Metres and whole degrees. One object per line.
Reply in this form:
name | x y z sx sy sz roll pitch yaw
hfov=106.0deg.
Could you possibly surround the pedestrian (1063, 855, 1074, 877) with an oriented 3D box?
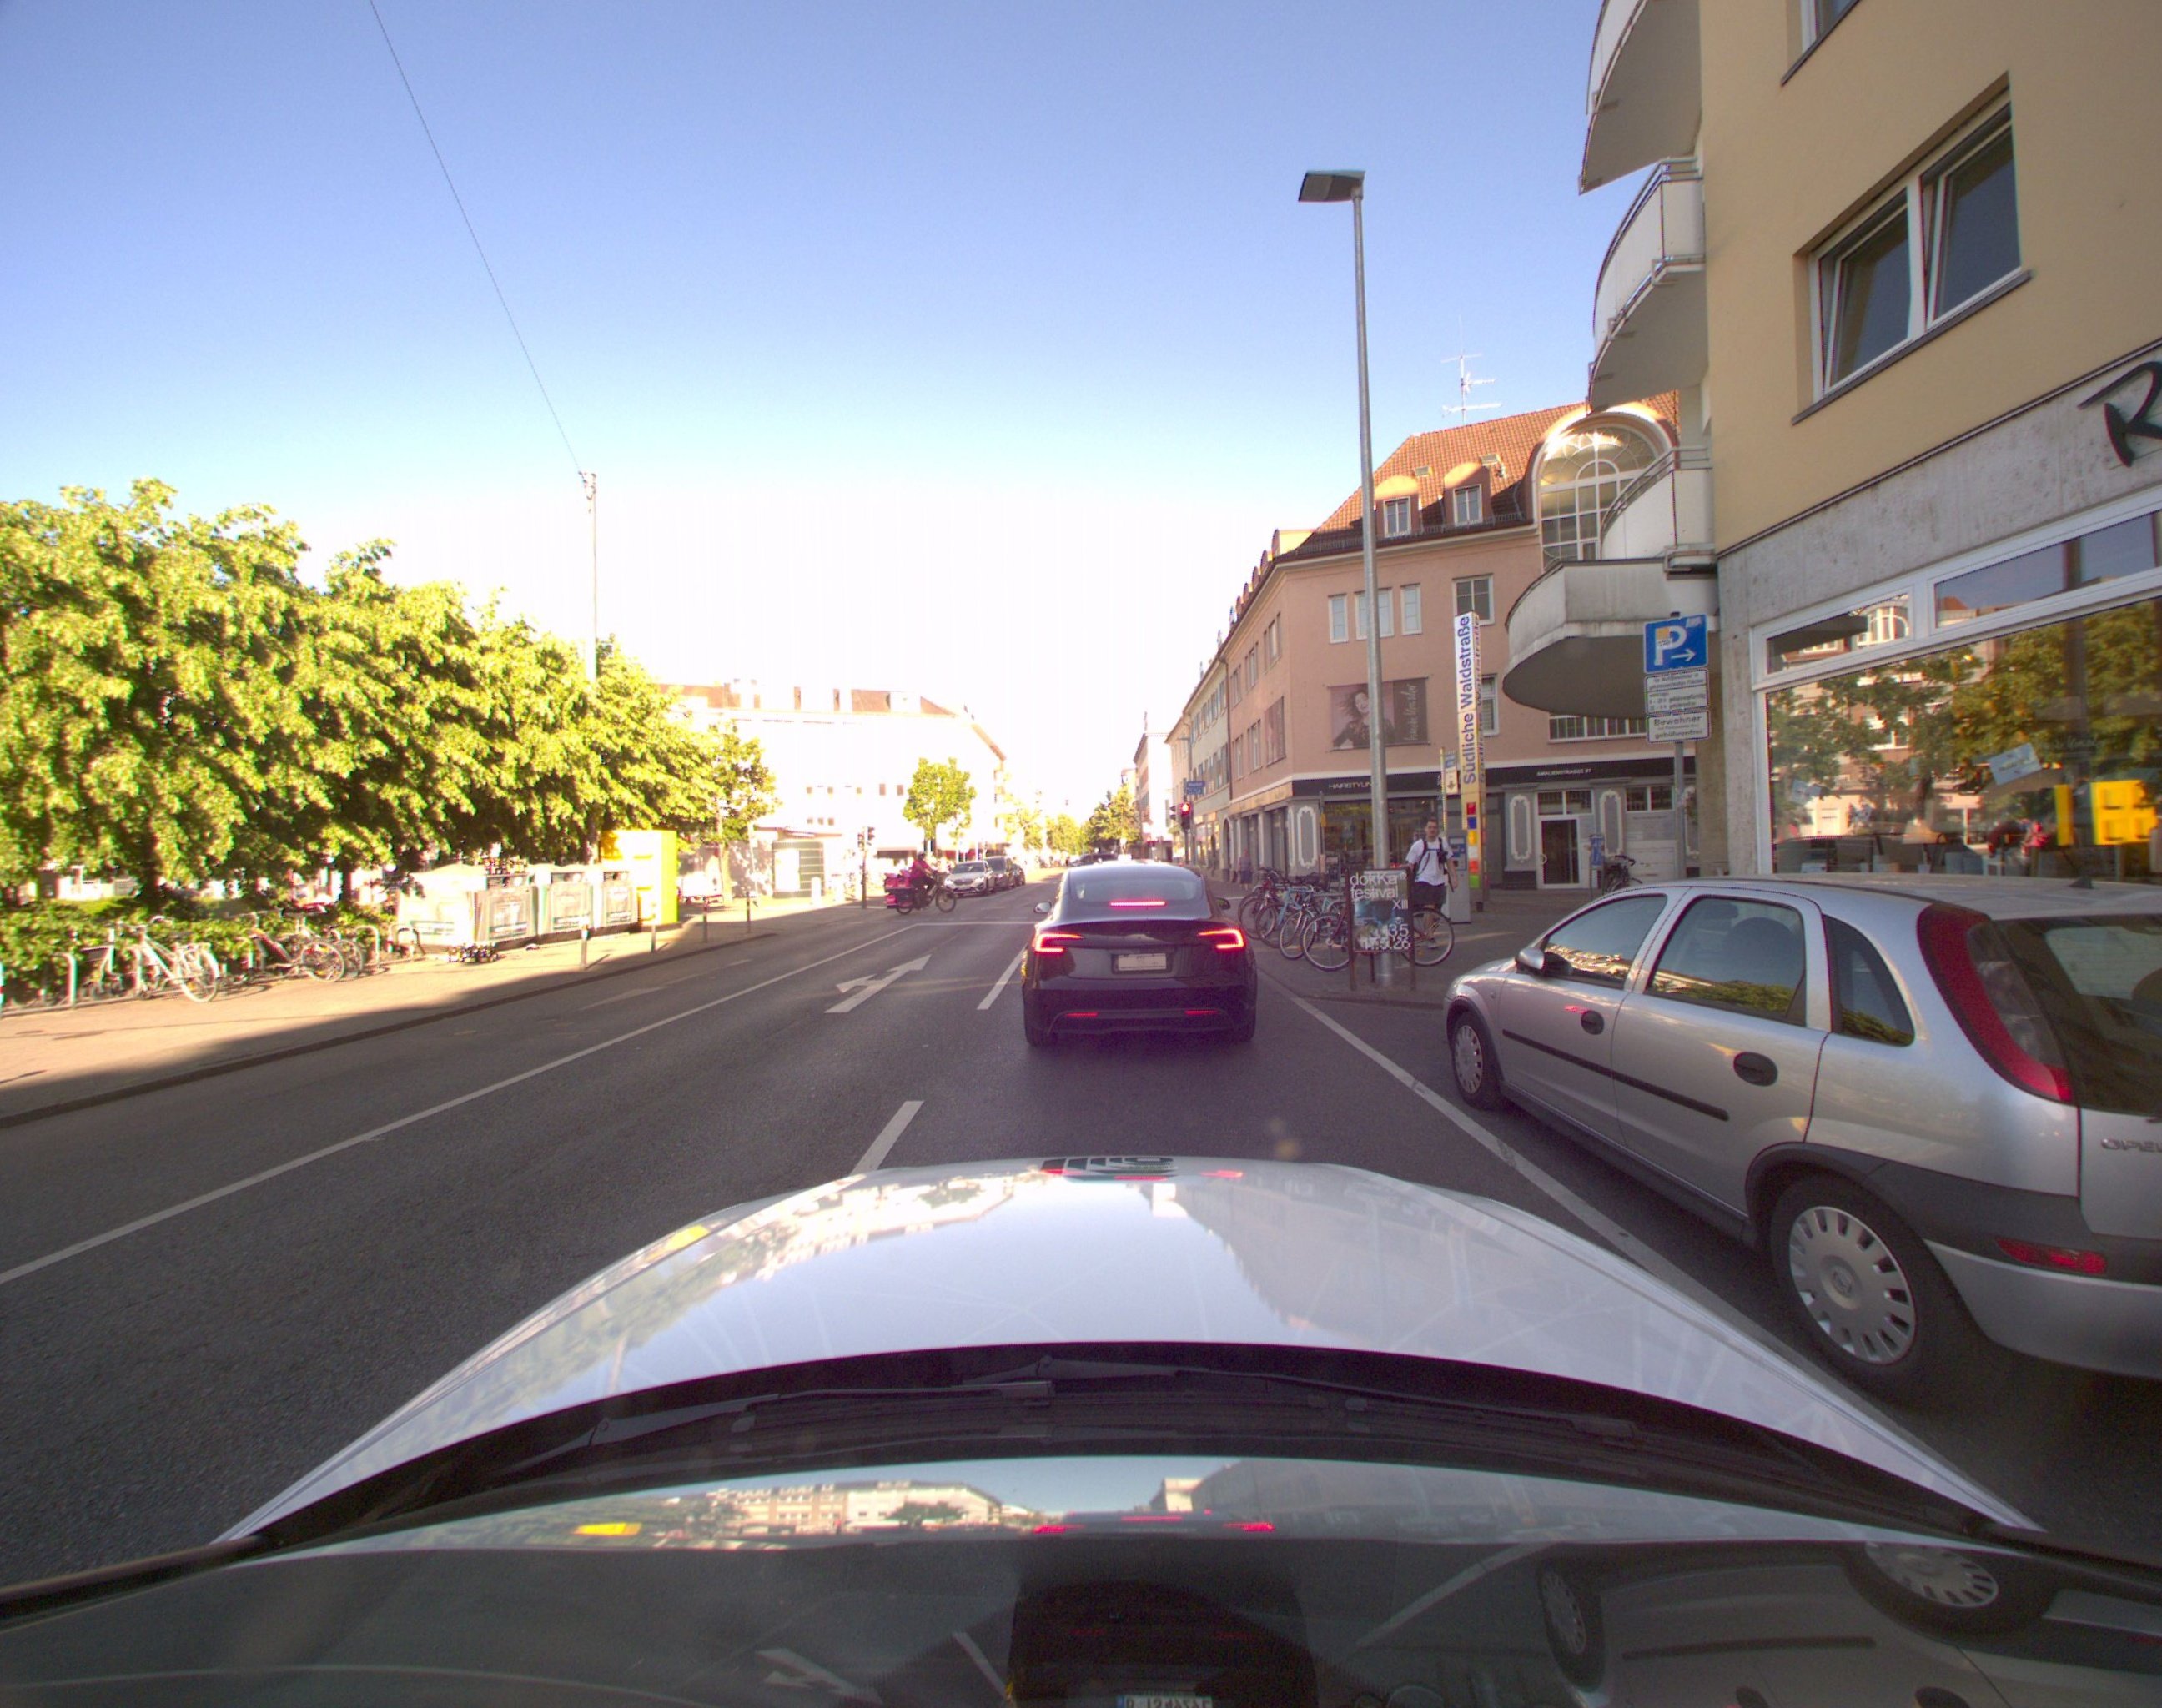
pedestrian | -0.986 0.969 64.772 0.660 1.760 0.649 0 -1 -22

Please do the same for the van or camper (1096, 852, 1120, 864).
van or camper | 5.641 0.852 167.655 4.832 2.438 1.851 -1 0 1

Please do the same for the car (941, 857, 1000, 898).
car | -4.882 1.016 36.593 1.818 1.565 4.302 -5 -1 2

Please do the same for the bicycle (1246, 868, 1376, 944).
bicycle | 3.520 0.790 12.562 1.806 1.102 0.653 -1 0 3

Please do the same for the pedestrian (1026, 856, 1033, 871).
pedestrian | -6.214 1.131 97.642 0.734 1.868 0.787 0 -1 -15

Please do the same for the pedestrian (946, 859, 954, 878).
pedestrian | -10.494 1.159 65.102 0.624 1.524 0.577 0 -1 -11

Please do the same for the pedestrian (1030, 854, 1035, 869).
pedestrian | -6.211 0.978 104.220 0.693 1.868 0.658 0 -1 -3

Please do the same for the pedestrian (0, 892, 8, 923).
pedestrian | -54.076 2.673 40.366 0.928 1.520 0.924 0 -1 -43

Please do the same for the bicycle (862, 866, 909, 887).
bicycle | -12.052 1.387 50.297 2.655 1.259 0.942 0 -1 -1

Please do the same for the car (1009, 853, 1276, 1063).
car | 0.497 0.738 7.878 1.843 1.447 4.453 0 0 2

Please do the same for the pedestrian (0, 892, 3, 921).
pedestrian | -57.307 2.751 42.531 1.029 1.520 1.023 0 -1 -43

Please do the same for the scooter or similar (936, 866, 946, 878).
scooter or similar | -11.188 1.440 64.958 0.787 0.957 0.462 0 -1 -11

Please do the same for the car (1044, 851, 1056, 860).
car | -7.156 0.291 188.728 2.266 2.014 4.720 0 -1 3

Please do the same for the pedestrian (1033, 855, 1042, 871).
pedestrian | -5.123 1.103 95.178 0.726 1.868 0.796 -1 -1 30

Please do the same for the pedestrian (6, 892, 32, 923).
pedestrian | -53.631 2.676 41.119 0.827 1.520 0.782 -1 -1 38

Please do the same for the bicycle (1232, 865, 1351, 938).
bicycle | 3.498 0.775 13.637 1.806 1.152 0.653 -1 0 3

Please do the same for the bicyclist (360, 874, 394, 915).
bicyclist | -24.716 1.414 28.607 0.701 1.381 0.577 -3 -2 14

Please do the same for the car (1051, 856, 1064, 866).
car | -4.852 1.323 166.804 2.405 1.970 4.679 -1 0 2

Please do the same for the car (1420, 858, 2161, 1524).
car | 2.962 0.738 3.541 1.578 1.426 3.581 0 -1 2

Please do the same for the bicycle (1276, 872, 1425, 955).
bicycle | 3.657 0.797 11.150 1.806 1.060 0.653 -1 0 3

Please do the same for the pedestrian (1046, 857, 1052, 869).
pedestrian | -4.766 1.318 122.209 0.696 1.868 0.904 0 -1 -17

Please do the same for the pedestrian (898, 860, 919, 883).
pedestrian | -12.145 1.237 57.424 1.100 1.611 1.254 0 -1 -31

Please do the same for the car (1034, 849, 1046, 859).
car | -9.012 -0.012 180.133 2.266 2.014 4.720 0 -1 3

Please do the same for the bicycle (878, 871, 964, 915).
bicycle | -4.807 1.163 24.569 2.376 1.151 0.714 -4 -1 8

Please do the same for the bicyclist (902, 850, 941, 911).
bicyclist | -4.810 0.790 24.586 0.859 1.755 0.683 -5 -2 9

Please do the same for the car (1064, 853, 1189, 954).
car | 0.743 0.749 14.301 1.843 1.482 4.453 0 0 2

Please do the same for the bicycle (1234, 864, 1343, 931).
bicycle | 3.738 0.782 14.766 1.806 1.152 0.653 -1 0 3

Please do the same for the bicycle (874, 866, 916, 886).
bicycle | -11.997 1.401 52.572 2.535 1.251 0.942 0 -1 -1

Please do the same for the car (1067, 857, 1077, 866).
car | -1.990 1.778 187.424 2.124 1.970 4.135 -1 0 2

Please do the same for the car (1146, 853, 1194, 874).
car | 8.149 0.872 74.644 4.006 1.867 1.686 -1 0 -20

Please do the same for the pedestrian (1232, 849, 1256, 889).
pedestrian | 6.329 0.584 31.660 0.786 1.549 0.724 0 -1 2

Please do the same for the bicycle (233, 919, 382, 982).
bicycle | -11.460 1.425 12.097 1.663 0.859 0.469 0 -1 -5

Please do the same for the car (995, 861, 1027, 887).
car | -4.255 1.205 50.042 1.455 1.430 3.607 -5 -1 2

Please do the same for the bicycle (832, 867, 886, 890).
bicycle | -12.391 1.371 45.583 2.772 1.274 0.933 0 -1 -2

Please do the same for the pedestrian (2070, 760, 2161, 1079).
pedestrian | 6.313 0.339 4.478 0.785 1.754 0.721 -4 -1 -8

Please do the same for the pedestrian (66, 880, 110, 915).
pedestrian | -55.236 2.413 45.323 1.088 1.842 1.308 -1 -1 26

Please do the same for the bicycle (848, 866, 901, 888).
bicycle | -12.153 1.364 47.979 2.867 1.270 0.942 0 -1 -1

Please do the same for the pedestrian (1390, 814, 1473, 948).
pedestrian | 4.964 0.372 11.599 0.805 1.823 0.984 0 -1 5

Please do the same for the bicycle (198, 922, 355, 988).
bicycle | -11.425 1.423 11.598 1.667 0.859 0.469 0 -1 -5

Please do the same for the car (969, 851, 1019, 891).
car | -4.494 0.835 42.916 1.938 1.947 4.822 -1 0 2

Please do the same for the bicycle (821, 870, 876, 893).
bicycle | -12.323 1.439 43.240 2.652 1.195 0.942 0 -1 -1

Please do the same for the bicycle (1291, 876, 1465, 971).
bicycle | 3.637 0.844 10.077 1.875 1.044 0.653 -2 0 3

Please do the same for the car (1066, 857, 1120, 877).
car | 1.282 1.312 83.594 5.213 1.866 1.871 -1 0 -20

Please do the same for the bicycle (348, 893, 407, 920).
bicycle | -24.703 1.837 28.592 1.840 0.823 0.583 -4 -1 14

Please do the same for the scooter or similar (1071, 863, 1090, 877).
scooter or similar | -0.033 1.264 65.138 1.339 1.134 0.804 0 -1 -23

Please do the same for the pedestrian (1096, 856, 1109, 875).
pedestrian | 1.771 0.945 67.363 0.812 1.609 0.702 0 -1 -35

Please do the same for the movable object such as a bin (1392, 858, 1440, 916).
movable object such as a bin | 6.746 0.659 16.417 0.633 1.103 0.728 -4 -1 5

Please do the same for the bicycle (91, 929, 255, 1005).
bicycle | -11.460 1.417 10.301 1.560 0.886 0.470 0 -1 1
